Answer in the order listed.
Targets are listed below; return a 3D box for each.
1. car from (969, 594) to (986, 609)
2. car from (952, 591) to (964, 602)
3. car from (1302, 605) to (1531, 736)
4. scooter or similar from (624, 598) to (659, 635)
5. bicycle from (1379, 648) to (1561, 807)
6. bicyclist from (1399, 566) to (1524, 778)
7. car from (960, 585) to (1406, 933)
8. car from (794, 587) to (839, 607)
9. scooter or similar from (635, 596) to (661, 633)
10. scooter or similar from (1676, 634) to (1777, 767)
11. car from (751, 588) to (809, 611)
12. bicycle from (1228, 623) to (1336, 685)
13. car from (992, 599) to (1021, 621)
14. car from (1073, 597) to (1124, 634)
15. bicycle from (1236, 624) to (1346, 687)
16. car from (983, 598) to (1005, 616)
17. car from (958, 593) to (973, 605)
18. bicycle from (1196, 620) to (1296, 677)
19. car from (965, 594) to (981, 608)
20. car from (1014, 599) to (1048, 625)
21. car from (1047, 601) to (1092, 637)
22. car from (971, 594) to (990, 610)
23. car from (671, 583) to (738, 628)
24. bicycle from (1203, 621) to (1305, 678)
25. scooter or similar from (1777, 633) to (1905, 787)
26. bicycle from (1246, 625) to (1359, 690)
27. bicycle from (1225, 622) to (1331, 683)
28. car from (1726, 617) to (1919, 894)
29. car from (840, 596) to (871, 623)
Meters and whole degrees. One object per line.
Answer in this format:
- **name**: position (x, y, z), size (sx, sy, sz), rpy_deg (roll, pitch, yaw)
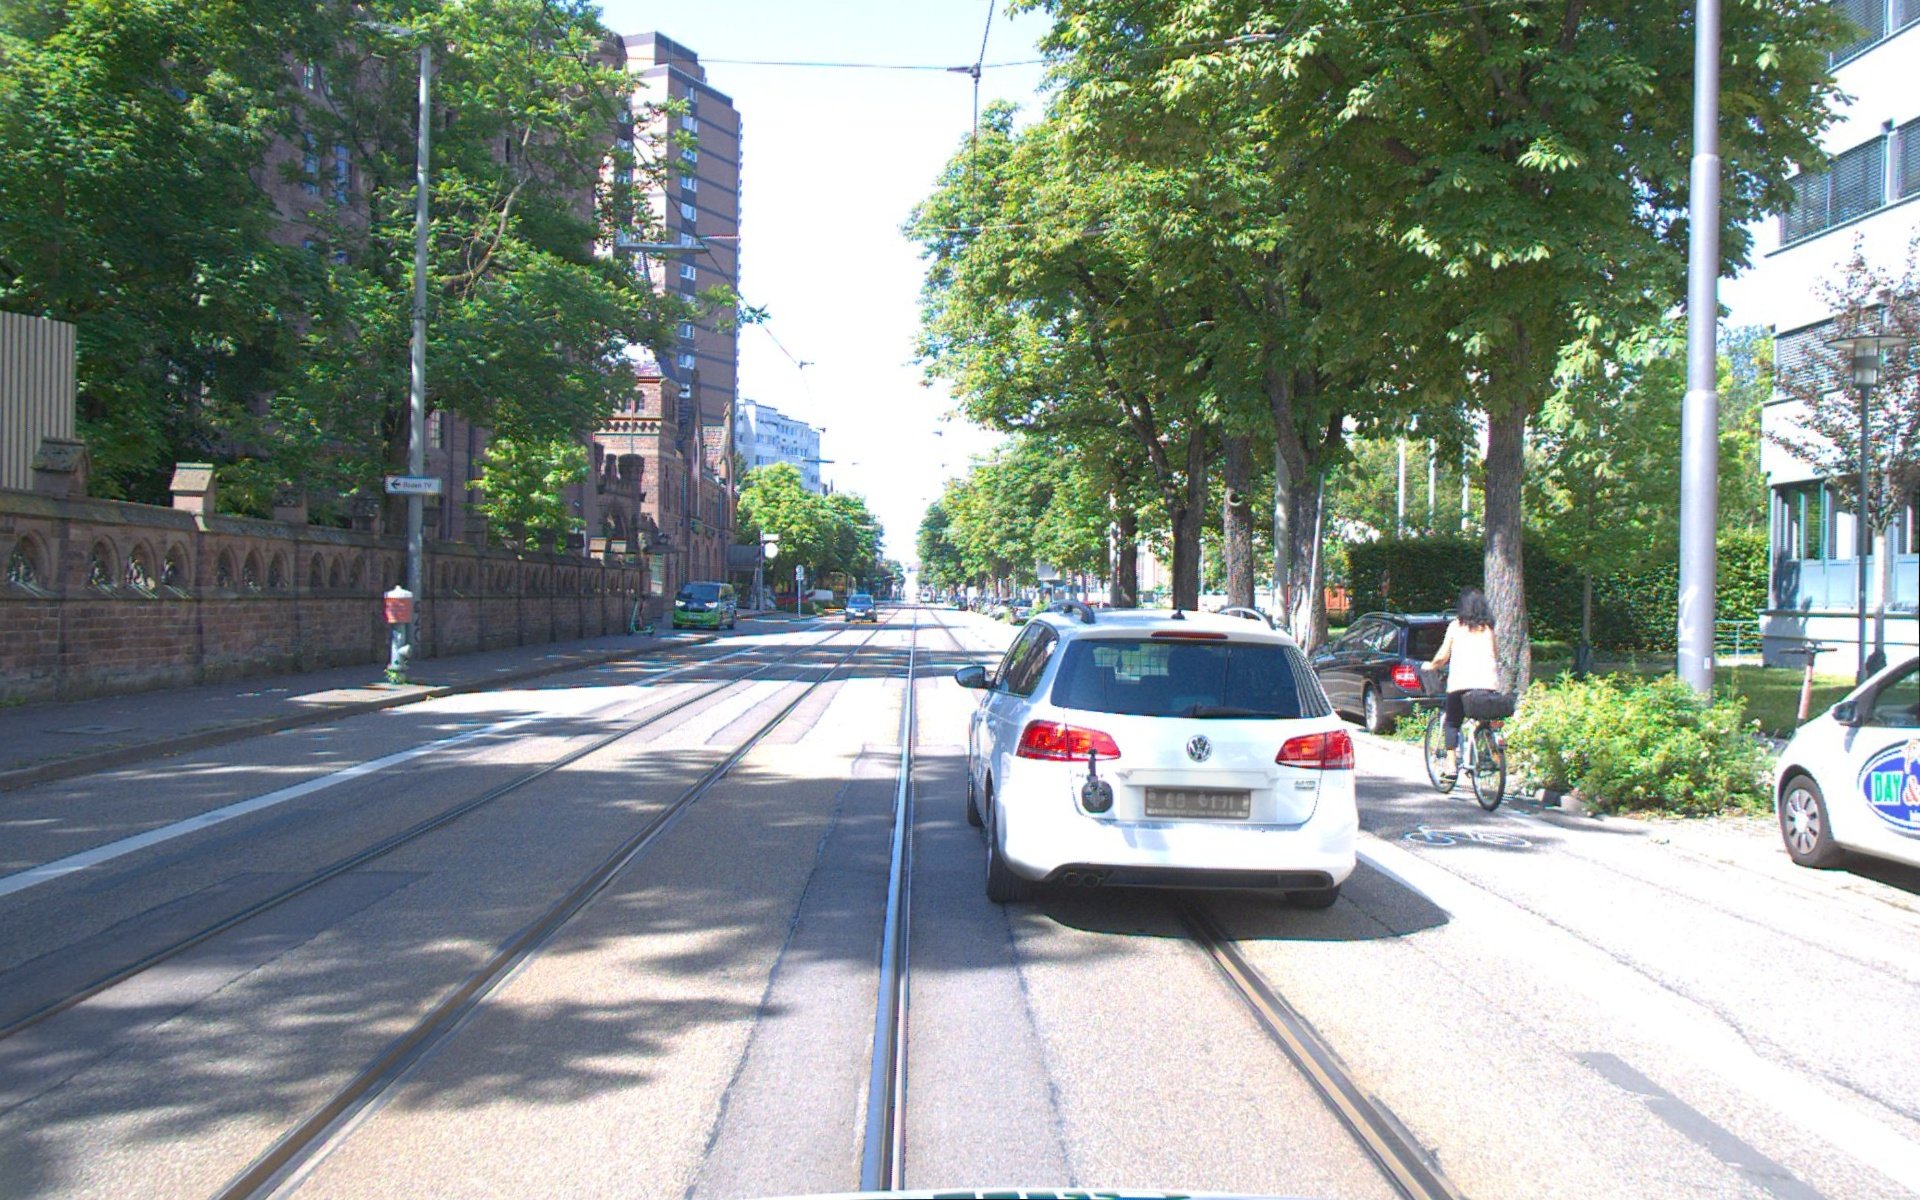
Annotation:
- **car**: position (1.730, 0.124, 166.276), size (1.678, 1.425, 3.842), rpy_deg (0, 0, -1)
- **car**: position (-0.325, -0.479, 230.324), size (1.678, 1.425, 3.842), rpy_deg (0, 0, -1)
- **car**: position (5.763, 0.825, 21.470), size (1.630, 1.469, 4.632), rpy_deg (0, 0, -1)
- **scooter or similar**: position (-10.018, 0.512, 52.074), size (0.397, 1.175, 1.140), rpy_deg (0, 0, 32)
- **bicycle**: position (4.041, 0.973, 13.274), size (0.794, 1.097, 2.011), rpy_deg (1, 0, -1)
- **bicyclist**: position (4.037, 0.564, 13.371), size (0.770, 1.658, 0.738), rpy_deg (0, 0, -2)
- **car**: position (0.966, 0.705, 9.298), size (1.718, 1.467, 4.410), rpy_deg (1, -1, -2)
- **car**: position (-13.915, -0.298, 160.728), size (3.958, 1.847, 1.974), rpy_deg (0, 0, -37)
- **scooter or similar**: position (-10.469, 0.483, 55.533), size (0.413, 1.221, 1.144), rpy_deg (0, 0, 13)
- **scooter or similar**: position (7.058, 0.905, 15.258), size (0.371, 1.147, 1.090), rpy_deg (0, 0, -3)
- **car**: position (-13.855, -0.060, 127.474), size (4.061, 1.557, 1.919), rpy_deg (3, 0, -23)
- **bicycle**: position (5.493, 0.923, 28.250), size (1.753, 1.028, 0.487), rpy_deg (0, 0, -7)
- **car**: position (3.054, 0.631, 109.576), size (1.679, 1.425, 3.841), rpy_deg (0, 0, -2)
- **car**: position (5.017, 0.532, 60.286), size (1.677, 1.303, 3.844), rpy_deg (0, 0, 3)
- **bicycle**: position (5.532, 0.927, 27.675), size (1.753, 1.028, 0.487), rpy_deg (0, 0, -7)
- **car**: position (2.803, 0.539, 135.311), size (1.678, 1.425, 3.842), rpy_deg (0, 0, -1)
- **car**: position (0.679, -0.132, 196.622), size (1.678, 1.425, 3.842), rpy_deg (0, 0, -1)
- **bicycle**: position (5.292, 0.891, 30.620), size (1.753, 1.028, 0.487), rpy_deg (0, 0, -7)
- **car**: position (1.390, 0.091, 175.514), size (1.678, 1.425, 3.842), rpy_deg (0, 0, -1)
- **car**: position (3.903, 0.660, 91.849), size (1.678, 1.425, 3.842), rpy_deg (0, 0, -1)
- **car**: position (4.617, 0.780, 70.040), size (1.678, 1.425, 3.843), rpy_deg (0, 0, 0)
- **car**: position (1.949, 0.200, 155.046), size (1.678, 1.425, 3.842), rpy_deg (0, 0, -1)
- **car**: position (-10.531, 0.209, 68.534), size (1.952, 1.788, 4.712), rpy_deg (0, 0, 1)
- **bicycle**: position (5.343, 0.899, 30.102), size (1.753, 1.028, 0.487), rpy_deg (0, 0, -7)
- **scooter or similar**: position (7.187, 0.875, 13.528), size (0.379, 1.175, 1.142), rpy_deg (0, 0, -3)
- **bicycle**: position (5.606, 0.938, 27.096), size (1.753, 1.028, 0.487), rpy_deg (0, 0, -7)
- **bicycle**: position (5.546, 0.916, 28.845), size (1.753, 1.028, 0.487), rpy_deg (0, 0, -7)
- **car**: position (6.025, 0.873, 9.297), size (1.558, 1.476, 3.945), rpy_deg (0, 0, -1)
- **car**: position (-5.614, 0.475, 89.100), size (1.463, 1.409, 3.642), rpy_deg (0, 0, -1)
